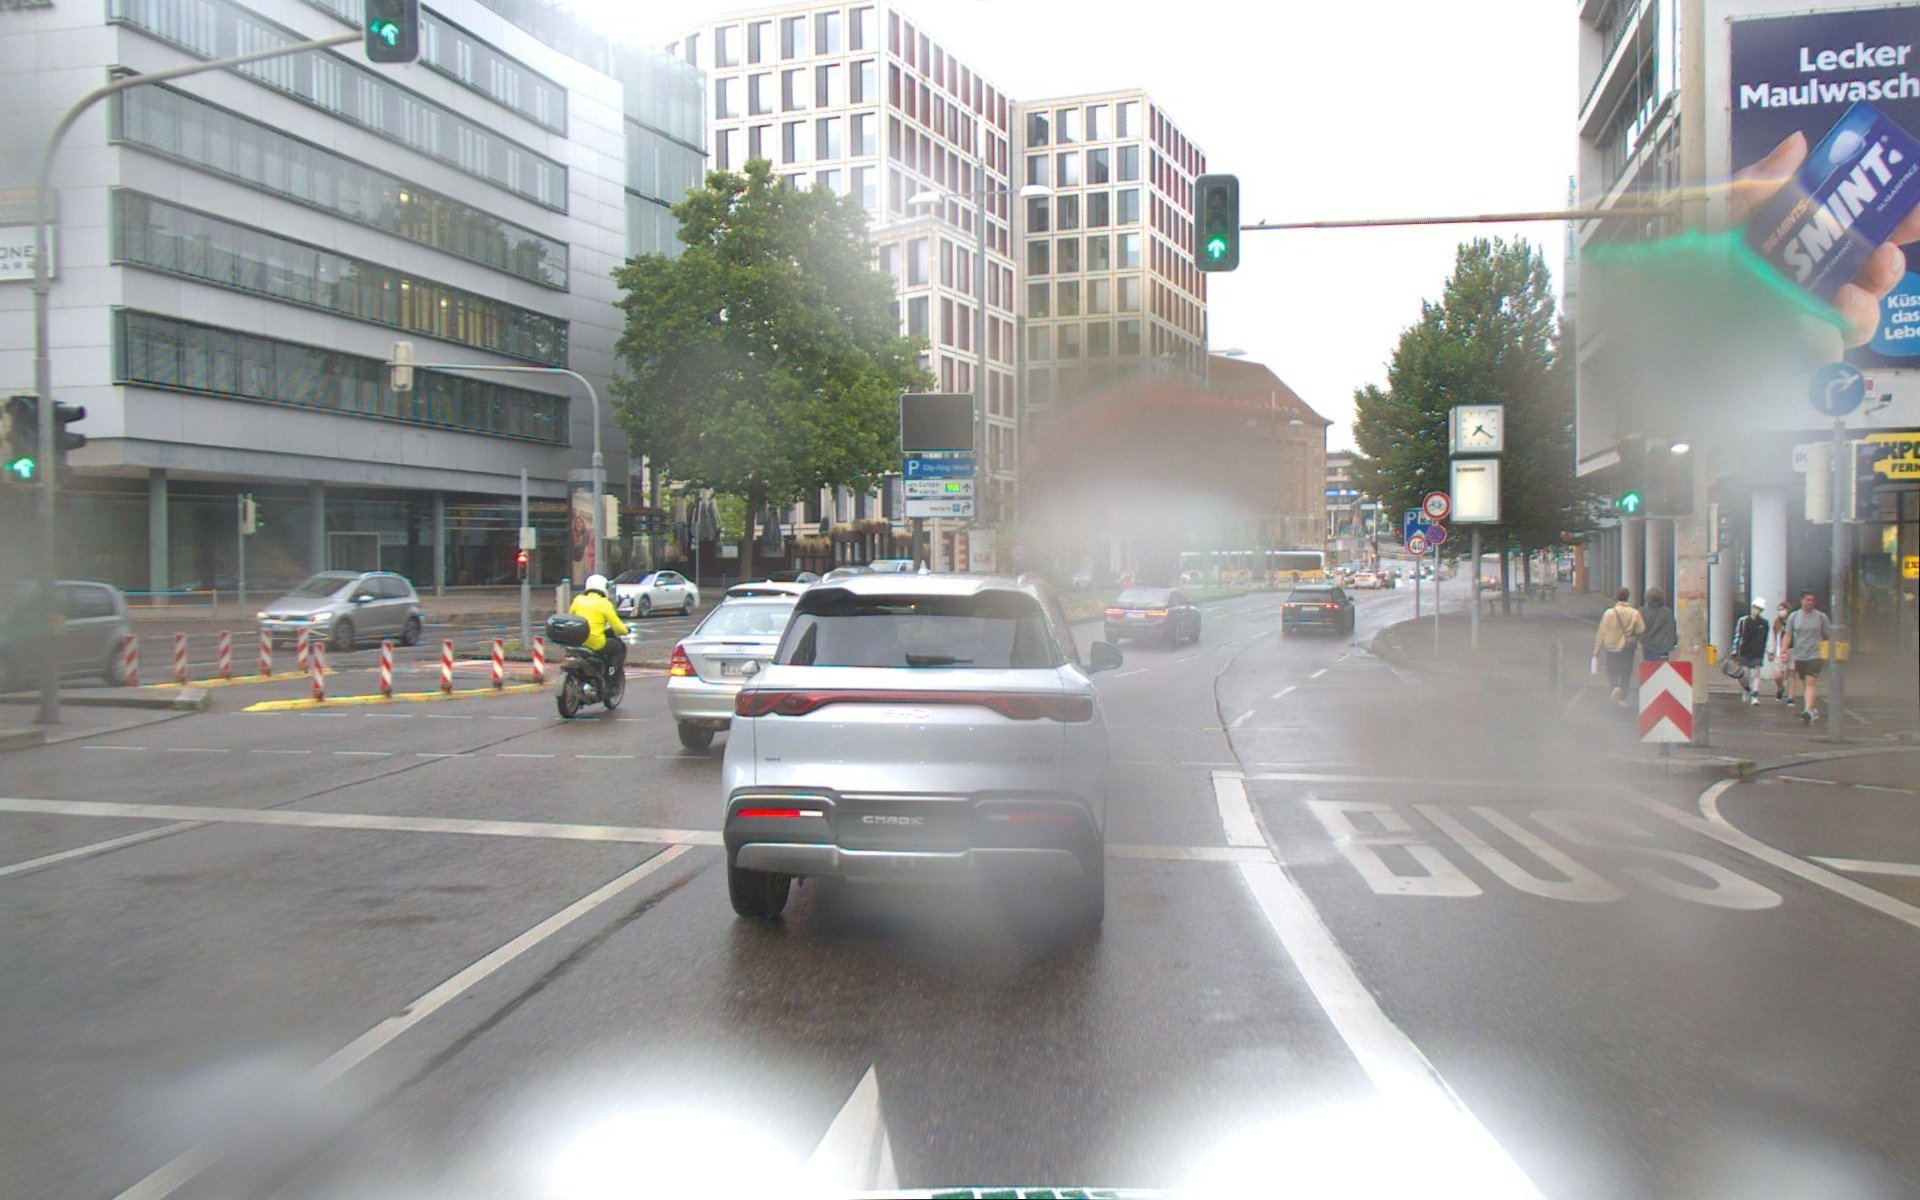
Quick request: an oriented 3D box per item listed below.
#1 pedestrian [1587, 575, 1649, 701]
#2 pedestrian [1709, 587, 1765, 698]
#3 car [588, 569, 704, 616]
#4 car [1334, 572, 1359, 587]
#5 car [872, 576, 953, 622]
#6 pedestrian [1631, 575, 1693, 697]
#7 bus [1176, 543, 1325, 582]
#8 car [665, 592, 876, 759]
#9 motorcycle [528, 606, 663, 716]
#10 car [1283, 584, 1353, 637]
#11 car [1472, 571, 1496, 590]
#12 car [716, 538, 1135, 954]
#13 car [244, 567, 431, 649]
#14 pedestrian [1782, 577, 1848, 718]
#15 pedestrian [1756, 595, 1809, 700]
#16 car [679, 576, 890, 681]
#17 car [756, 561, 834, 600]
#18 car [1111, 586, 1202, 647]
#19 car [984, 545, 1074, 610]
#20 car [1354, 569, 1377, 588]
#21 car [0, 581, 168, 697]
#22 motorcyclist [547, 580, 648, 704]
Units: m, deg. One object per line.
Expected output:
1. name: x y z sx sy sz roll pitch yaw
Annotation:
1. pedestrian: 9.767 0.545 24.559 0.732 1.829 0.817 0 1 13
2. pedestrian: 12.105 0.647 25.766 0.657 1.684 0.651 1 0 36
3. car: -10.719 -0.305 56.840 1.775 1.536 5.200 0 1 16
4. car: 39.200 -2.071 167.808 1.952 1.512 4.001 0 1 21
5. car: -1.551 -0.068 55.546 1.597 1.462 3.910 0 1 16
6. pedestrian: 10.764 0.535 25.386 0.732 1.829 0.817 0 1 13
7. bus: 33.567 -4.334 191.223 16.605 4.134 4.440 1 -1 16
8. car: -1.769 0.680 16.558 1.538 1.432 4.109 1 -1 1
9. motorcycle: -4.241 0.692 19.417 0.783 1.205 2.030 1 -1 11
10. car: 10.926 0.329 50.331 1.658 1.512 4.001 1 -1 18
11. car: 46.804 -1.734 147.733 1.659 1.512 3.999 1 -1 23
12. car: -0.006 0.626 8.951 1.738 1.708 4.002 1 -1 4
13. car: -13.037 0.148 34.914 1.609 1.609 4.089 1 0 15
14. pedestrian: 11.332 0.616 21.913 0.657 1.825 0.770 1 0 36
15. pedestrian: 12.587 0.719 25.314 0.614 1.570 0.651 1 0 36
16. car: -2.681 0.435 26.166 1.672 1.512 4.000 1 -1 21
17. car: -6.792 -0.821 68.569 1.597 1.586 4.596 0 1 16
18. car: 5.206 0.438 43.368 1.538 1.512 4.001 1 -1 19
19. car: 2.406 -0.725 56.154 1.951 2.049 4.851 1 -1 16
20. car: 36.388 -1.889 148.295 1.848 1.671 4.003 1 0 15
21. car: -12.269 0.474 21.551 1.654 1.409 3.871 1 -1 7
22. motorcyclist: -4.243 0.482 19.427 0.753 1.404 1.119 1 -1 11
